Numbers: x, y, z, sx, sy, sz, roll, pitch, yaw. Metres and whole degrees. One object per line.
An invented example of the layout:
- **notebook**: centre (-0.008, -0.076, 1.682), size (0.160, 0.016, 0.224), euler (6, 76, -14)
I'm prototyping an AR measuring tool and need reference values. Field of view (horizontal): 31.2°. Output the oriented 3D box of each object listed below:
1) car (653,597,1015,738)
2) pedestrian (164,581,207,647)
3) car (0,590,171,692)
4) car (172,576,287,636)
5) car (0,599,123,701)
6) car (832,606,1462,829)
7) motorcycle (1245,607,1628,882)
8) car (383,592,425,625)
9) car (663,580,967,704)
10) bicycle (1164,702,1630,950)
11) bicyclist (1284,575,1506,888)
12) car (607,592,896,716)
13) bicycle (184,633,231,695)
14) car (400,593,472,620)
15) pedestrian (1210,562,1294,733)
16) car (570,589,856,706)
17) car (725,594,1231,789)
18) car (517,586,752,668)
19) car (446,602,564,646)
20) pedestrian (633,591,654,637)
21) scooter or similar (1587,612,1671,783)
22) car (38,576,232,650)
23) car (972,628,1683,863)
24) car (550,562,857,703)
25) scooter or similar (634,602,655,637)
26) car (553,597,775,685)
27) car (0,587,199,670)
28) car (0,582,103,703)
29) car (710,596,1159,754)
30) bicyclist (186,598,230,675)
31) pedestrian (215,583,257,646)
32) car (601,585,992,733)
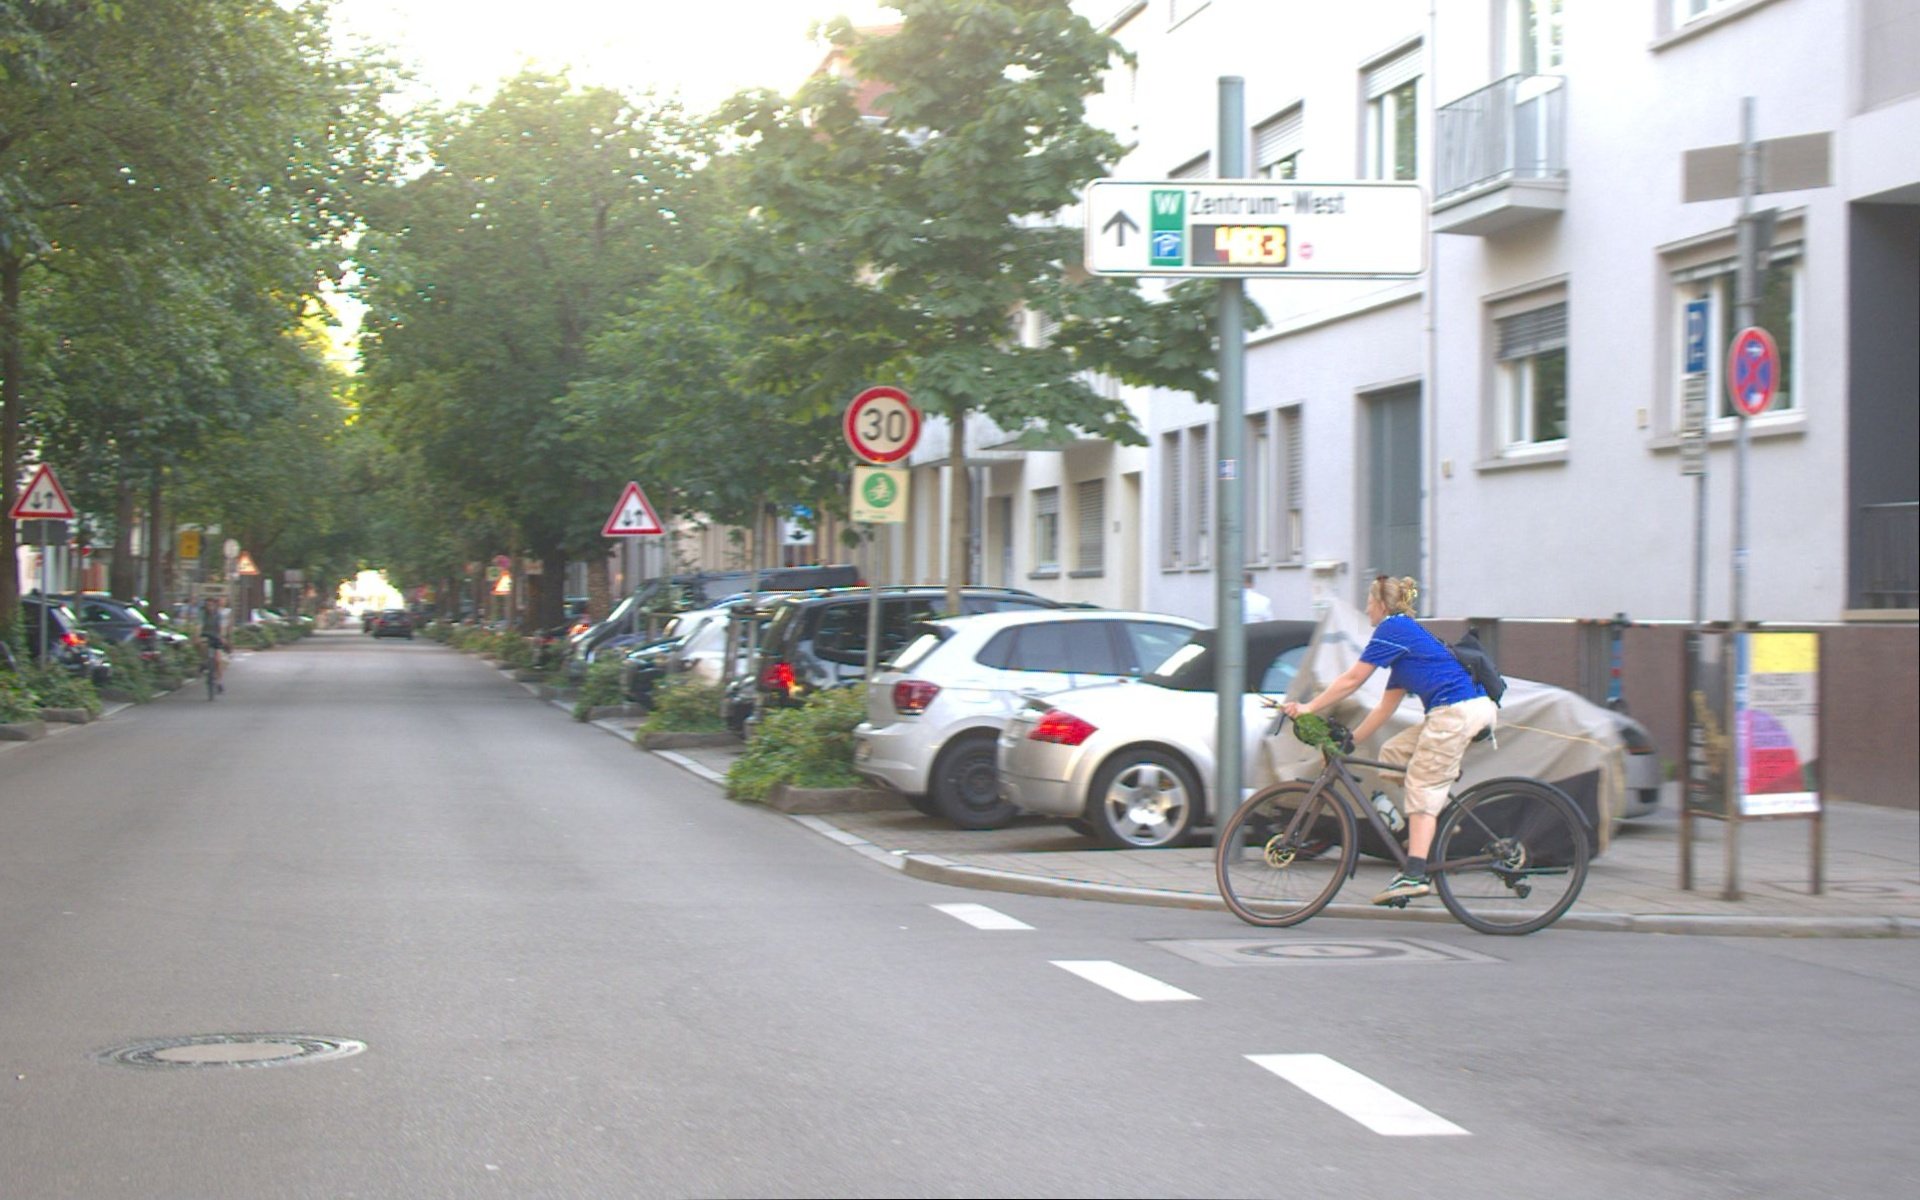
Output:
- **car**: centre (-1.534, 0.781, 40.811), size (4.073, 1.424, 1.818), euler (-3, 0, -8)
- **pedestrian**: centre (-20.467, 0.377, 90.883), size (0.829, 1.731, 0.796), euler (0, 0, 16)
- **car**: centre (-16.137, 0.694, 60.572), size (4.200, 1.666, 1.908), euler (2, 0, -9)
- **car**: centre (-31.353, 0.274, 147.662), size (4.681, 2.469, 2.000), euler (1, -1, -10)
- **car**: centre (-14.675, 0.669, 51.434), size (3.964, 1.382, 1.765), euler (4, 0, -9)
- **car**: centre (1.220, 0.772, 23.377), size (3.986, 1.433, 1.794), euler (0, 0, -9)
- **motorcycle**: centre (2.457, 0.736, 17.955), size (1.908, 1.387, 0.999), euler (0, 0, 4)
- **car**: centre (-26.961, 0.418, 166.762), size (1.956, 1.560, 4.283), euler (-1, 0, -10)
- **car**: centre (-1.959, 0.549, 45.896), size (3.792, 1.418, 1.698), euler (-3, 0, -11)
- **bicycle**: centre (1.948, 0.986, 15.442), size (1.974, 1.026, 0.673), euler (0, -1, 32)
- **bicyclist**: centre (1.958, 0.579, 15.444), size (0.775, 1.359, 0.673), euler (0, -1, 32)
- **car**: centre (-3.085, 0.774, 50.449), size (3.964, 1.573, 1.852), euler (-3, 0, -11)
- **bicycle**: centre (-12.394, 1.044, 56.654), size (0.672, 0.990, 1.759), euler (0, 0, -9)
- **car**: centre (-32.266, 0.379, 211.634), size (4.267, 1.560, 1.963), euler (-1, 0, -10)
- **pedestrian**: centre (3.104, 0.497, 36.573), size (0.697, 1.789, 0.881), euler (0, 0, -9)
- **car**: centre (-3.864, 0.722, 53.485), size (4.154, 1.573, 1.970), euler (-3, 0, -11)
- **car**: centre (0.110, 0.768, 29.742), size (4.108, 1.612, 1.961), euler (0, 0, -9)
- **car**: centre (-6.476, 0.528, 68.141), size (4.399, 1.389, 1.886), euler (-3, 0, -12)
- **car**: centre (-18.678, 0.972, 141.134), size (4.716, 1.704, 1.950), euler (1, 0, -8)
- **pedestrian**: centre (-10.594, 0.467, 115.053), size (0.654, 1.531, 0.831), euler (0, 0, -9)
- **scooter or similar**: centre (5.002, 0.710, 25.738), size (0.345, 1.235, 1.420), euler (0, 0, 0)
- **car**: centre (-20.214, 0.318, 84.403), size (4.425, 1.645, 1.873), euler (2, 0, -9)
- **car**: centre (2.158, 0.852, 20.849), size (3.986, 1.328, 1.794), euler (0, 0, -6)
- **car**: centre (-4.198, 0.516, 55.909), size (4.688, 2.004, 2.038), euler (-3, 0, -10)
- **scooter or similar**: centre (-10.505, 0.649, 114.518), size (0.654, 1.149, 0.831), euler (0, 0, -9)
- **car**: centre (-5.692, 0.773, 65.813), size (3.986, 1.433, 1.927), euler (-3, 0, -11)
- **car**: centre (-17.005, 0.555, 67.440), size (3.944, 1.527, 1.908), euler (1, -1, -10)
- **car**: centre (-14.196, 0.494, 48.258), size (3.964, 1.591, 1.781), euler (4, -1, -9)
- **car**: centre (-0.295, 0.745, 35.113), size (4.314, 1.491, 1.794), euler (-1, 0, -10)
- **bicyclist**: centre (-12.389, 0.599, 56.658), size (0.672, 1.259, 0.648), euler (0, 0, -9)
- **pedestrian**: centre (-19.294, 0.390, 91.610), size (0.829, 1.665, 0.796), euler (0, 0, 16)
- **car**: centre (-2.078, 0.718, 43.072), size (4.589, 1.573, 1.944), euler (-3, 0, -11)
